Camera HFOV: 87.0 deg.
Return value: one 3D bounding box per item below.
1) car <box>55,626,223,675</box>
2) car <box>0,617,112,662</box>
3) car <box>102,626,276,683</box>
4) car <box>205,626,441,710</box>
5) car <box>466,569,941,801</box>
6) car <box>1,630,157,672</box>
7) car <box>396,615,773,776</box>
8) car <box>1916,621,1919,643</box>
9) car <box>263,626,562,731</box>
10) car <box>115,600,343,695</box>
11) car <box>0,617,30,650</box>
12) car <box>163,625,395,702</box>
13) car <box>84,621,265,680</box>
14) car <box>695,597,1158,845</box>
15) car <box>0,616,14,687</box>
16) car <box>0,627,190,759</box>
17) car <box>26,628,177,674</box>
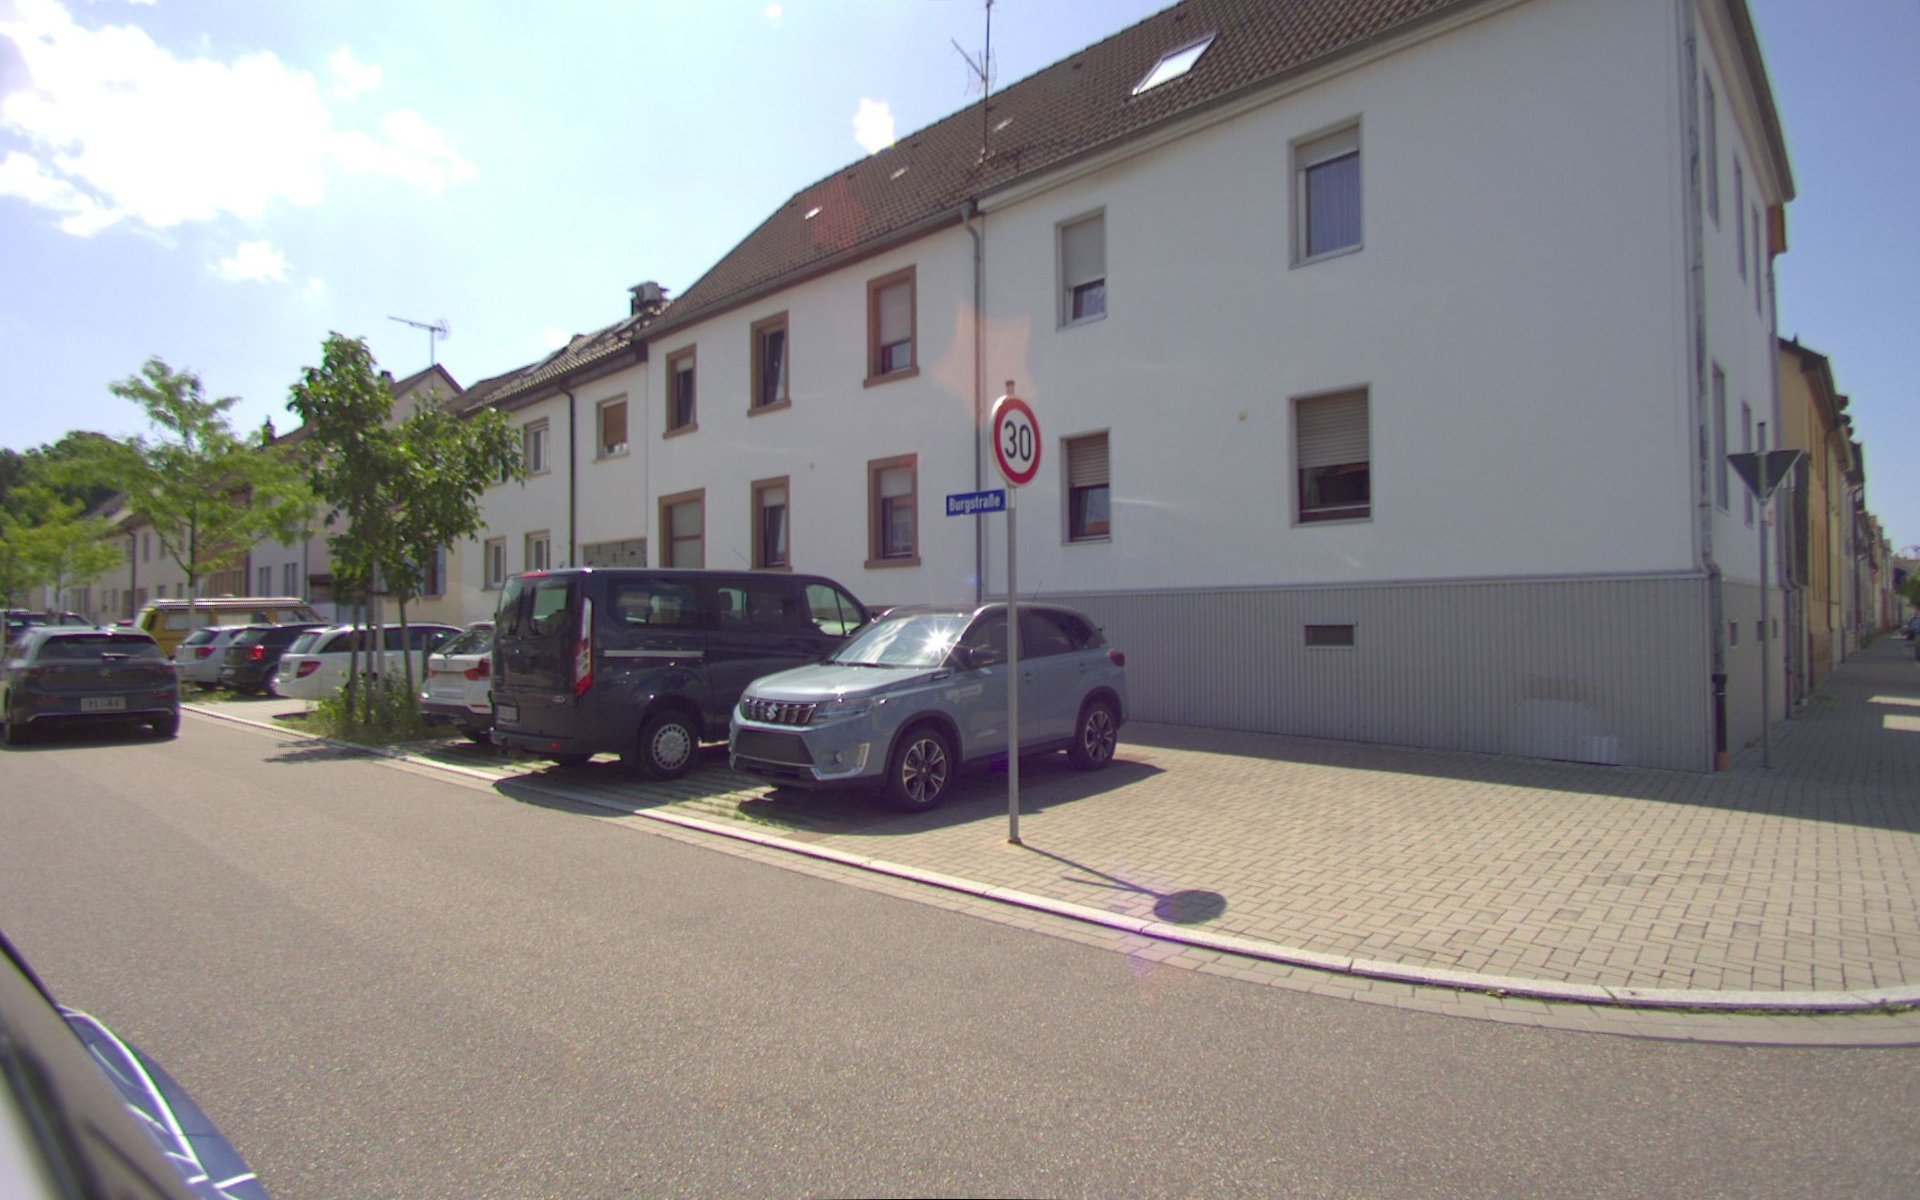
[{"bbox_3d":[-29.041,1.737,35.904,1.773,1.489,4.361,-2,-1,38],"label":"car"},{"bbox_3d":[-43.645,1.868,48.417,1.953,2.011,4.562,-2,-1,43],"label":"car"},{"bbox_3d":[-22.523,1.549,29.668,1.753,1.470,3.754,-2,-1,39],"label":"car"},{"bbox_3d":[-13.178,1.333,21.138,1.654,1.479,3.848,-1,0,33],"label":"car"},{"bbox_3d":[-2.487,0.679,10.832,1.937,1.937,4.650,-1,0,41],"label":"car"},{"bbox_3d":[-34.690,1.965,39.937,1.795,1.436,4.476,-2,-1,41],"label":"car"},{"bbox_3d":[-4.539,1.031,12.778,1.771,1.580,4.143,-1,0,38],"label":"car"},{"bbox_3d":[62.556,2.022,64.953,1.660,1.313,4.092,-4,-3,43],"label":"car"},{"bbox_3d":[-9.397,1.250,17.623,1.774,1.479,4.247,-1,0,43],"label":"car"},{"bbox_3d":[-18.758,1.139,26.114,1.924,2.194,4.461,-2,-1,42],"label":"car"},{"bbox_3d":[-71.370,2.506,73.697,2.155,2.305,5.115,-2,0,40],"label":"car"},{"bbox_3d":[-15.371,1.369,23.039,1.748,1.479,4.039,-1,-1,33],"label":"car"},{"bbox_3d":[-24.518,1.528,31.685,1.842,1.623,4.209,-2,-1,41],"label":"car"},{"bbox_3d":[-0.080,0.828,9.047,1.772,1.631,4.131,-1,0,42],"label":"car"},{"bbox_3d":[-28.706,1.422,28.893,4.896,1.965,2.001,-1,-1,41],"label":"car"},{"bbox_3d":[-12.106,1.156,13.805,4.047,1.534,1.744,-2,-3,41],"label":"car"},{"bbox_3d":[-31.638,1.848,37.377,1.774,1.489,4.014,-2,-1,39],"label":"car"}]
